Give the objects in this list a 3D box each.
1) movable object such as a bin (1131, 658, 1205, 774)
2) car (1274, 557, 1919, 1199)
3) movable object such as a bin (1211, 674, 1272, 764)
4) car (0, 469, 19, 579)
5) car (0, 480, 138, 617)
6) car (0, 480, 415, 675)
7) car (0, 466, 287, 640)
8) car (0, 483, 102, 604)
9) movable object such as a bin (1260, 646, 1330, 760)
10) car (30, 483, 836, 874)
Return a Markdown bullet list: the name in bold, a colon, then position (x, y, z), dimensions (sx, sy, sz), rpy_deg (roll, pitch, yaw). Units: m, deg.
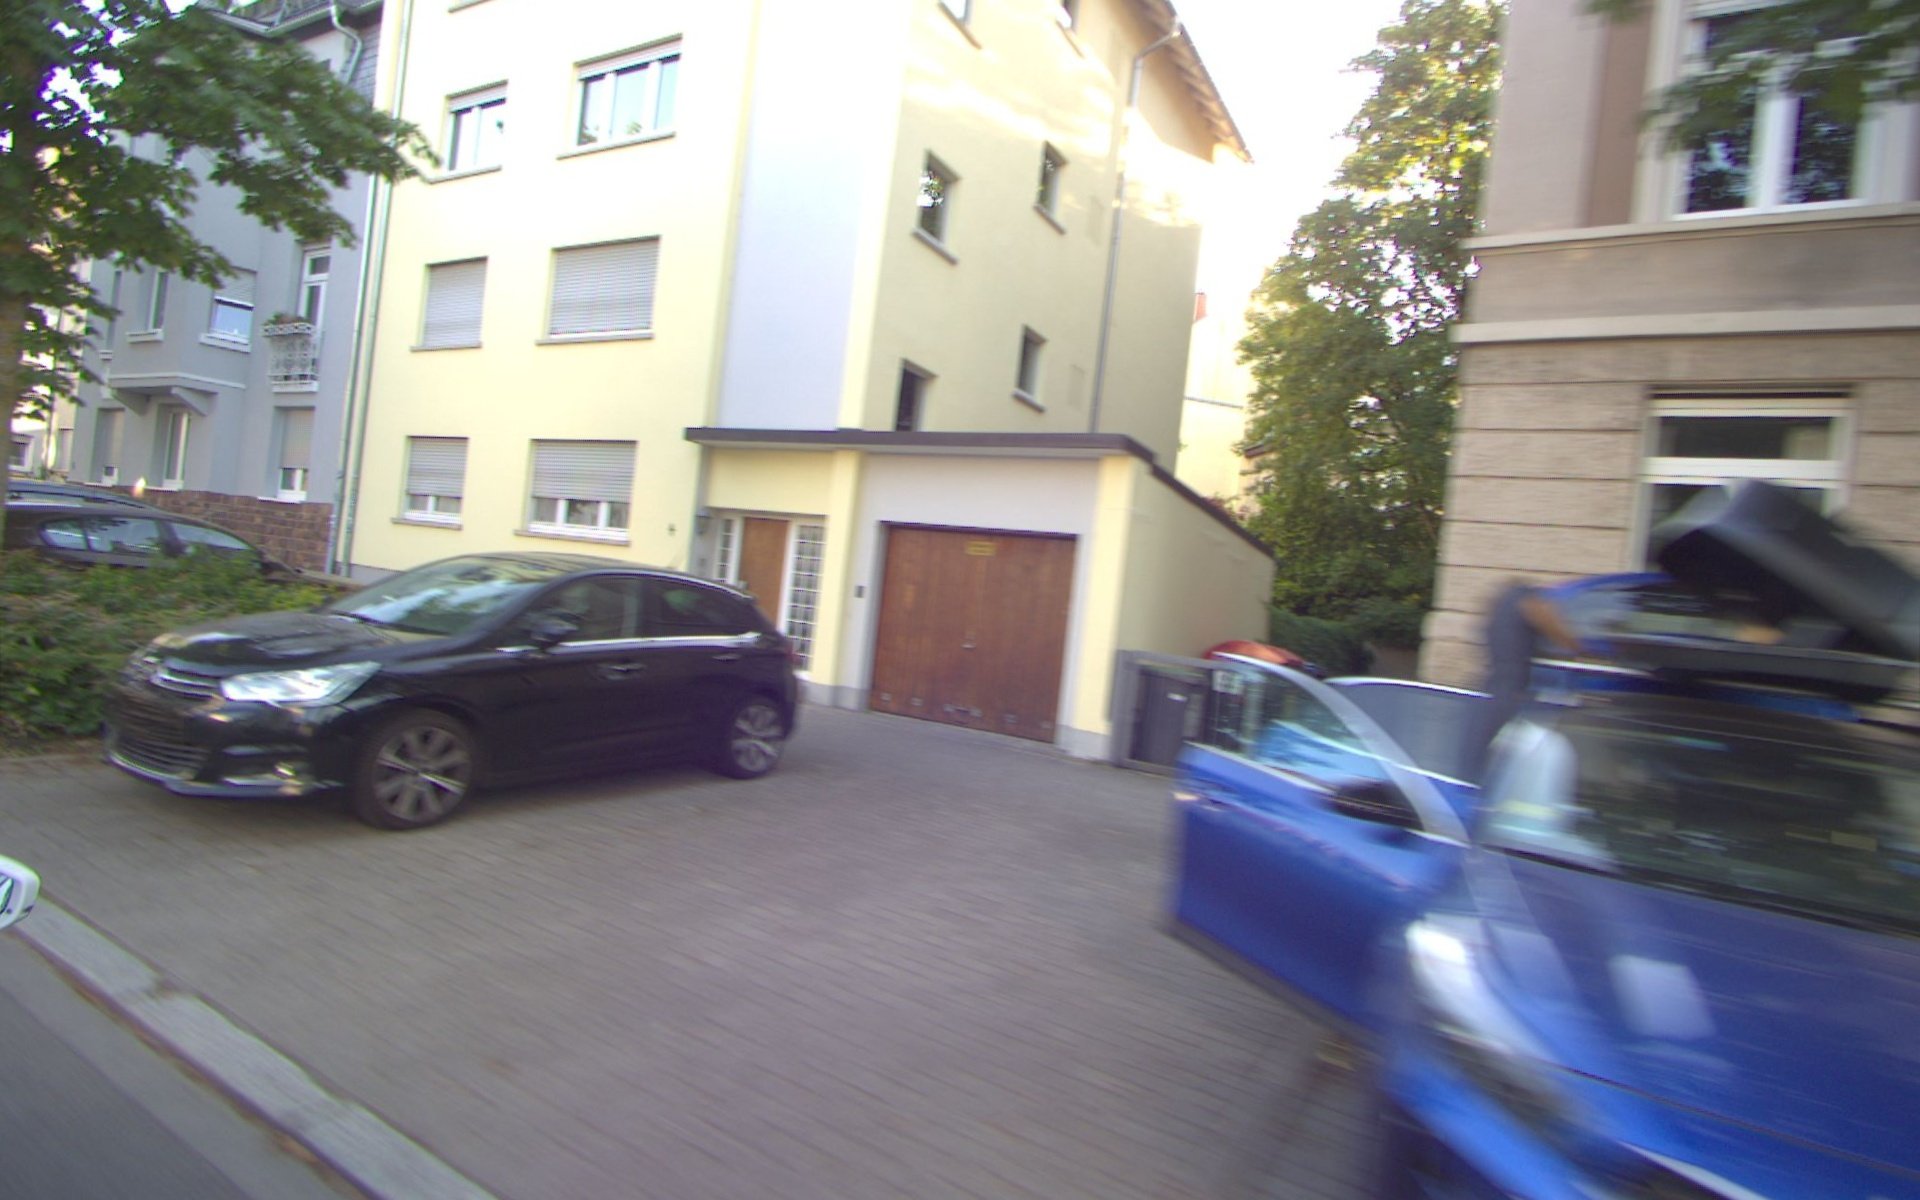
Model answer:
- **movable object such as a bin**: position (2.147, 1.184, 10.364), dimensions (0.523, 1.099, 0.456), rpy_deg (5, -1, 31)
- **car**: position (2.530, 0.986, 3.389), dimensions (1.842, 1.661, 4.533), rpy_deg (7, 0, 30)
- **movable object such as a bin**: position (3.439, 1.439, 12.278), dimensions (0.523, 1.010, 0.456), rpy_deg (5, -1, 31)
- **car**: position (-18.399, -1.590, 15.945), dimensions (1.921, 1.858, 4.635), rpy_deg (7, -1, 31)
- **car**: position (-12.562, -0.769, 12.072), dimensions (1.696, 1.577, 3.736), rpy_deg (7, 0, 30)
- **car**: position (-7.901, -0.185, 9.998), dimensions (1.697, 1.577, 3.928), rpy_deg (7, 0, 33)
- **car**: position (-10.022, -0.536, 11.361), dimensions (1.696, 1.674, 3.553), rpy_deg (7, 0, 30)
- **car**: position (-14.495, -0.980, 13.688), dimensions (1.713, 1.586, 3.823), rpy_deg (7, -1, 27)
- **movable object such as a bin**: position (4.583, 1.395, 13.749), dimensions (0.625, 1.451, 0.793), rpy_deg (5, -1, 31)
- **car**: position (-2.874, 0.418, 6.518), dimensions (1.842, 1.577, 4.197), rpy_deg (7, 0, 30)
